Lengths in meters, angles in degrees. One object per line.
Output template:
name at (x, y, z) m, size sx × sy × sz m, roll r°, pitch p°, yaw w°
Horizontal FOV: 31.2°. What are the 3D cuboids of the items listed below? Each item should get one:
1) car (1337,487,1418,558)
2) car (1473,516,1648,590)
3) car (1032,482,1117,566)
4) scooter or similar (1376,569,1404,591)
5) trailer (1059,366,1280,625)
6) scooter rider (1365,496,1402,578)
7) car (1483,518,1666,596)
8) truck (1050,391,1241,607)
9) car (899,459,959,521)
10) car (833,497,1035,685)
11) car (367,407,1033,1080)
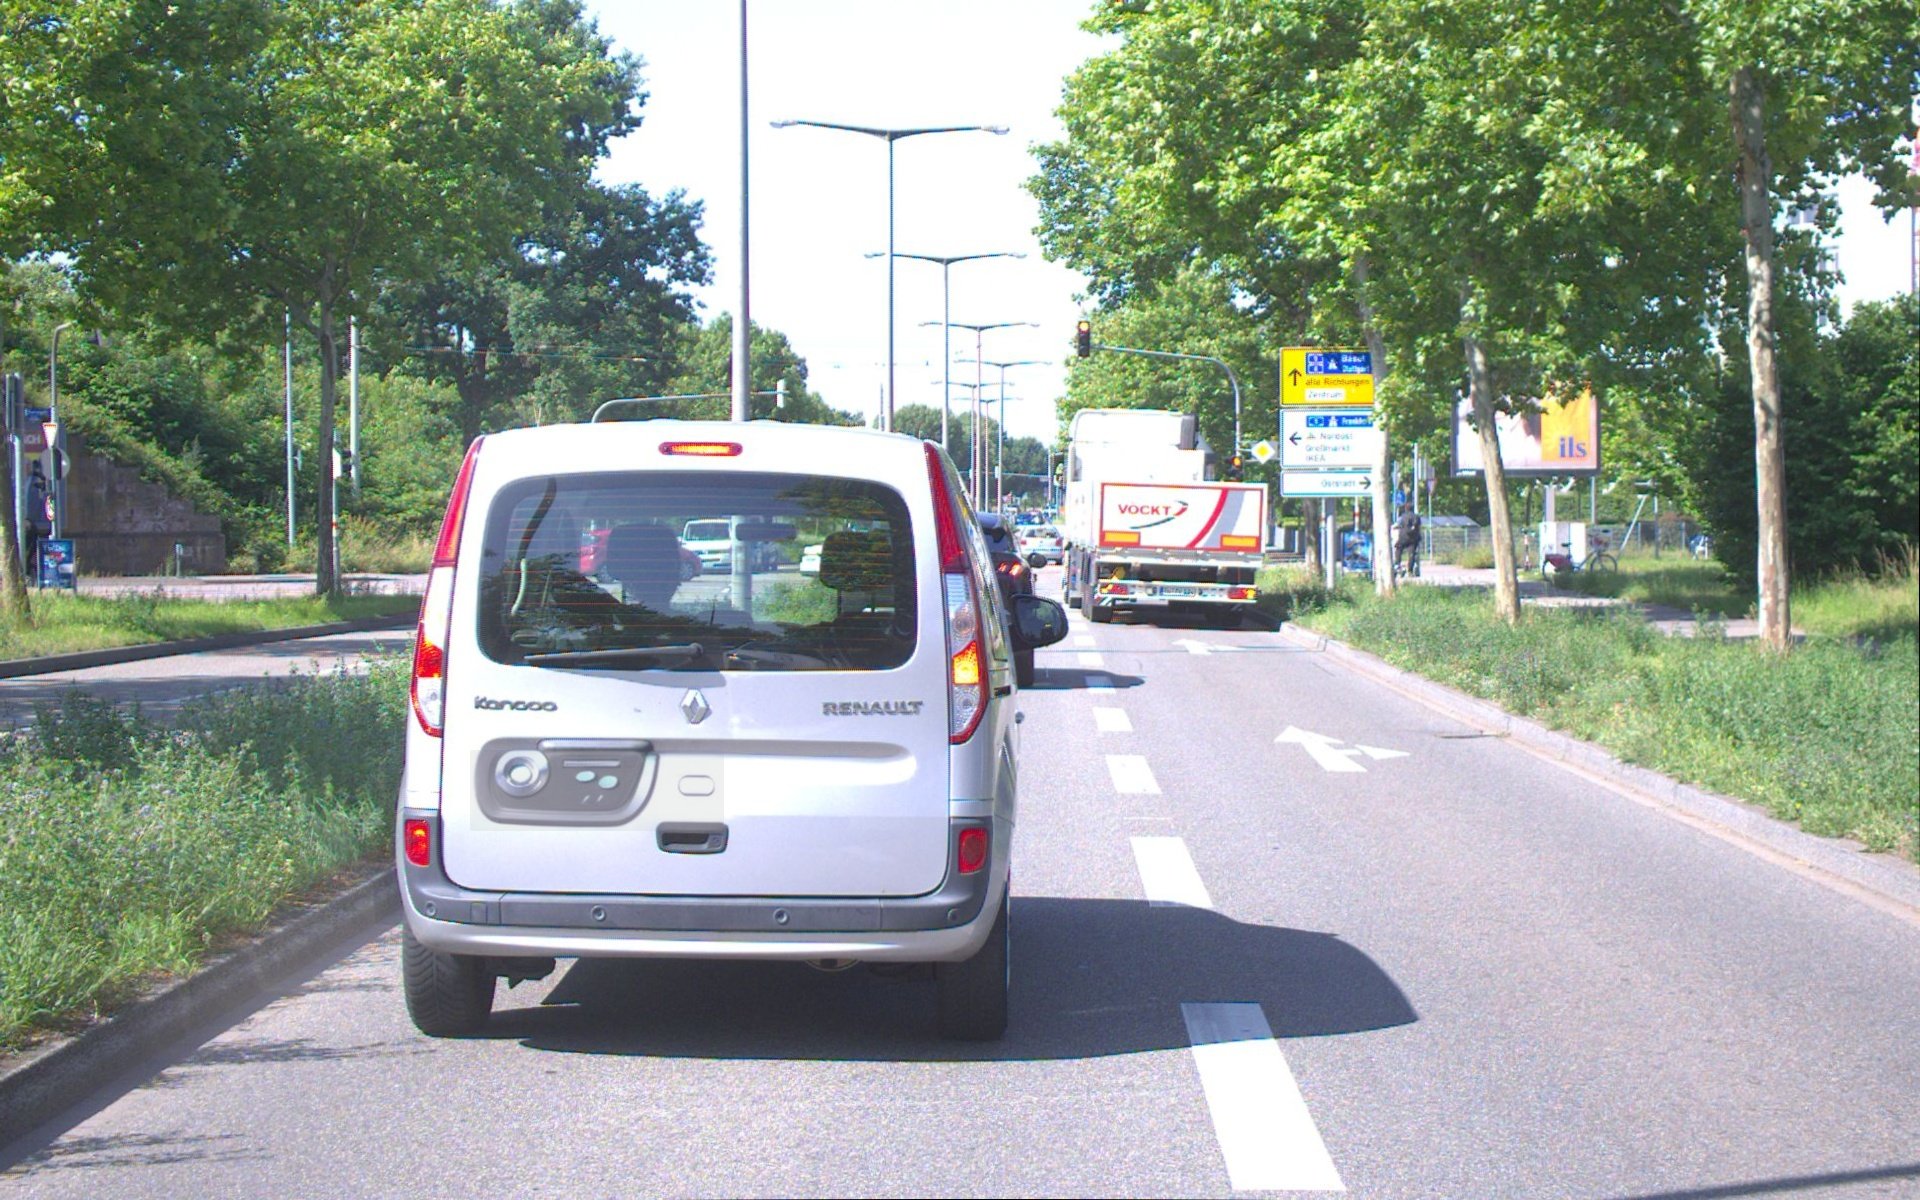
car at (10.984, -2.040, 90.637) m, size 1.816 × 1.789 × 3.443 m, roll 1°, pitch 1°, yaw 2°
car at (14.352, -1.133, 82.319) m, size 3.988 × 1.656 × 1.723 m, roll 2°, pitch 1°, yaw 6°
car at (2.307, -1.544, 69.925) m, size 1.466 × 1.630 × 3.471 m, roll 1°, pitch 1°, yaw -2°
scooter or similar at (7.068, -0.330, 56.542) m, size 0.378 × 0.356 × 0.556 m, roll 1°, pitch 1°, yaw -2°
trailer at (3.249, -1.650, 56.588) m, size 3.016 × 3.728 × 12.240 m, roll 1°, pitch 1°, yaw 1°
scooter rider at (6.959, -1.041, 56.525) m, size 0.497 × 1.333 × 0.563 m, roll 1°, pitch 1°, yaw -2°
car at (14.041, -0.986, 78.715) m, size 3.988 × 1.656 × 1.723 m, roll 2°, pitch 1°, yaw 6°
truck at (3.384, -1.848, 64.559) m, size 3.071 × 3.745 × 7.476 m, roll 1°, pitch 1°, yaw 0°
car at (-1.081, -3.708, 116.754) m, size 1.713 × 2.007 × 4.001 m, roll 1°, pitch 1°, yaw -5°
car at (-0.292, -0.120, 33.442) m, size 1.809 × 1.678 × 4.000 m, roll 1°, pitch 1°, yaw -2°
car at (-0.689, 0.351, 11.208) m, size 1.749 × 1.766 × 3.949 m, roll 1°, pitch 1°, yaw 0°
